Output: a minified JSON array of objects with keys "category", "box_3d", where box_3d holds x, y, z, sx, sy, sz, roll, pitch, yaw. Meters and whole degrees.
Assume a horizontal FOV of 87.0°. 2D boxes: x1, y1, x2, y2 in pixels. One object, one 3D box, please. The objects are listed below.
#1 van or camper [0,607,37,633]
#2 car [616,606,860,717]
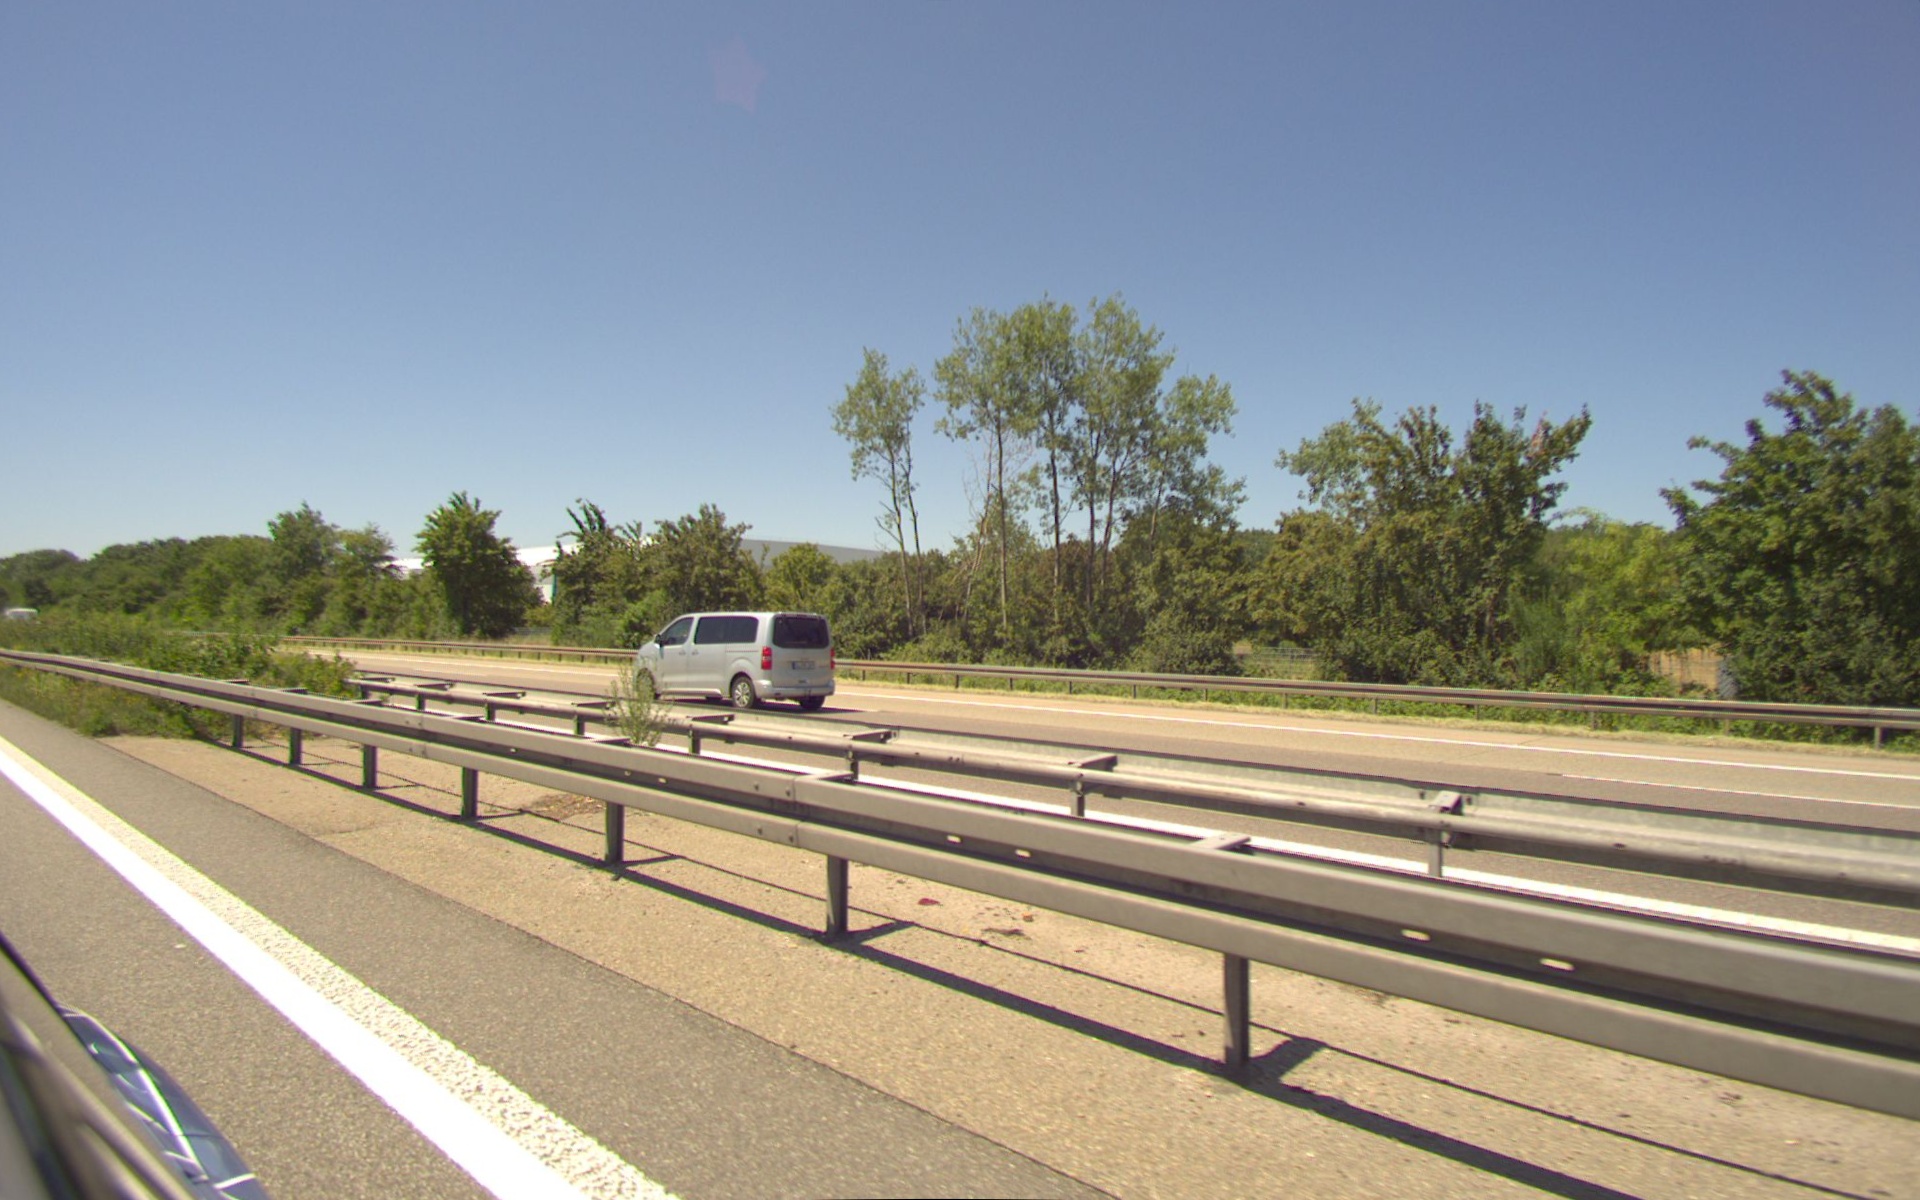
[{"category":"van or camper","box_3d":[-113.319,2.430,121.510,7.443,2.992,2.820,-1,-3,41]},{"category":"car","box_3d":[-4.560,1.168,20.300,5.224,1.939,2.020,-1,-4,41]}]
